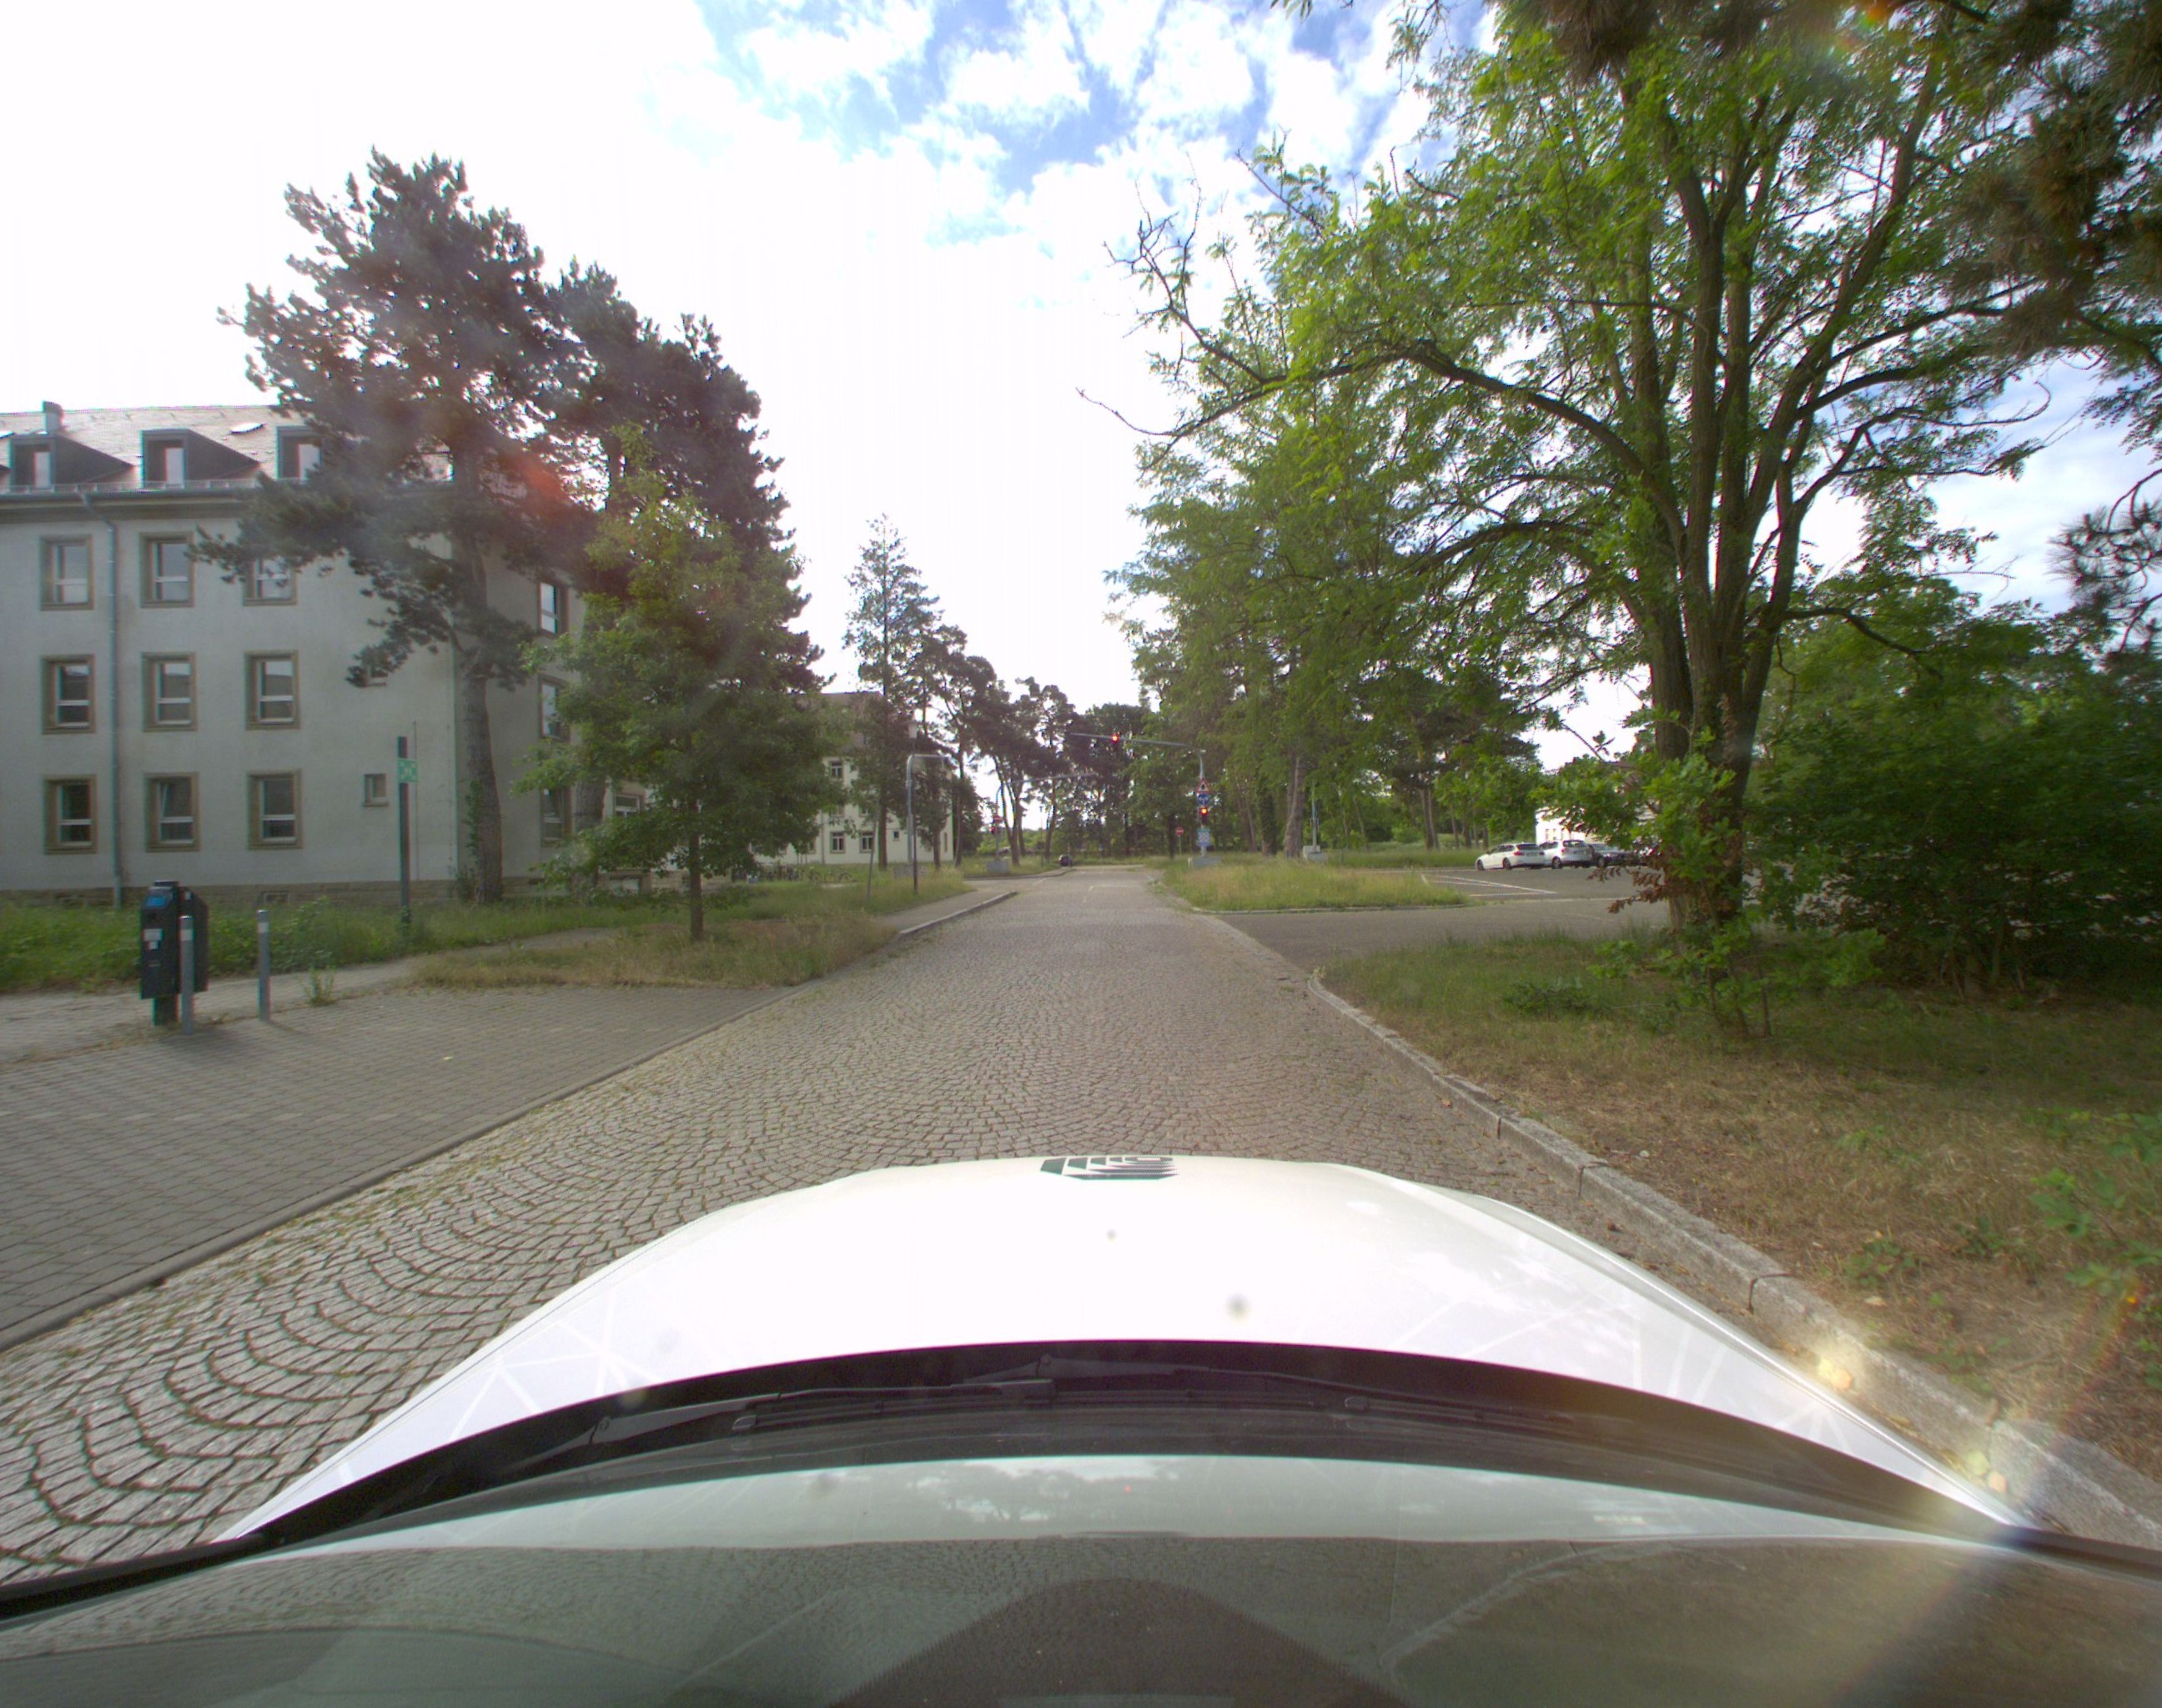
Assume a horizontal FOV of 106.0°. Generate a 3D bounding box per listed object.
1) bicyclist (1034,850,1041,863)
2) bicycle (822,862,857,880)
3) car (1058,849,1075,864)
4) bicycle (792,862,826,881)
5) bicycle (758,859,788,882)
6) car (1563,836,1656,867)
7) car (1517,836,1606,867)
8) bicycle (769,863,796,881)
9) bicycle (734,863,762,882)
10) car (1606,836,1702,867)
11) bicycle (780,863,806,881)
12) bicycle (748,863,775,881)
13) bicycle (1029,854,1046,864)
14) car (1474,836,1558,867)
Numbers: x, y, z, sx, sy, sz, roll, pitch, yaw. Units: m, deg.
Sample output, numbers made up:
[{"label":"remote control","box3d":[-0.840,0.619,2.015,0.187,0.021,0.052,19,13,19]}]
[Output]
[{"label":"bicyclist","box3d":[-5.392,0.289,101.121,0.744,1.671,0.527,0,-1,10]},{"label":"bicycle","box3d":[-14.924,1.052,50.328,1.848,1.076,0.832,-1,0,3]},{"label":"car","box3d":[-1.937,0.322,107.398,2.048,1.846,4.001,-2,0,1]},{"label":"bicycle","box3d":[-16.808,1.086,50.333,1.848,1.076,0.739,-1,0,3]},{"label":"bicycle","box3d":[-19.624,1.018,51.926,0.733,1.385,2.713,-1,0,2]},{"label":"car","box3d":[28.146,-0.090,43.591,1.988,1.481,4.422,-1,-1,-2]},{"label":"car","box3d":[25.476,-0.092,43.360,1.988,1.481,4.422,-1,-1,-2]},{"label":"bicycle","box3d":[-18.891,1.150,51.553,0.733,1.076,2.274,-1,0,2]},{"label":"bicycle","box3d":[-21.078,1.158,51.576,0.733,1.076,2.274,-1,0,2]},{"label":"car","box3d":[30.823,-0.108,44.005,1.988,1.523,4.422,0,-1,-2]},{"label":"bicycle","box3d":[-18.248,1.128,51.618,0.733,1.076,2.274,-1,0,2]},{"label":"bicycle","box3d":[-20.416,1.168,52.054,0.733,1.076,2.274,-1,0,2]},{"label":"bicycle","box3d":[-5.415,0.618,101.124,1.956,1.320,0.520,0,-1,11]},{"label":"car","box3d":[22.961,-0.093,43.238,1.988,1.481,4.422,-1,-1,-2]}]
